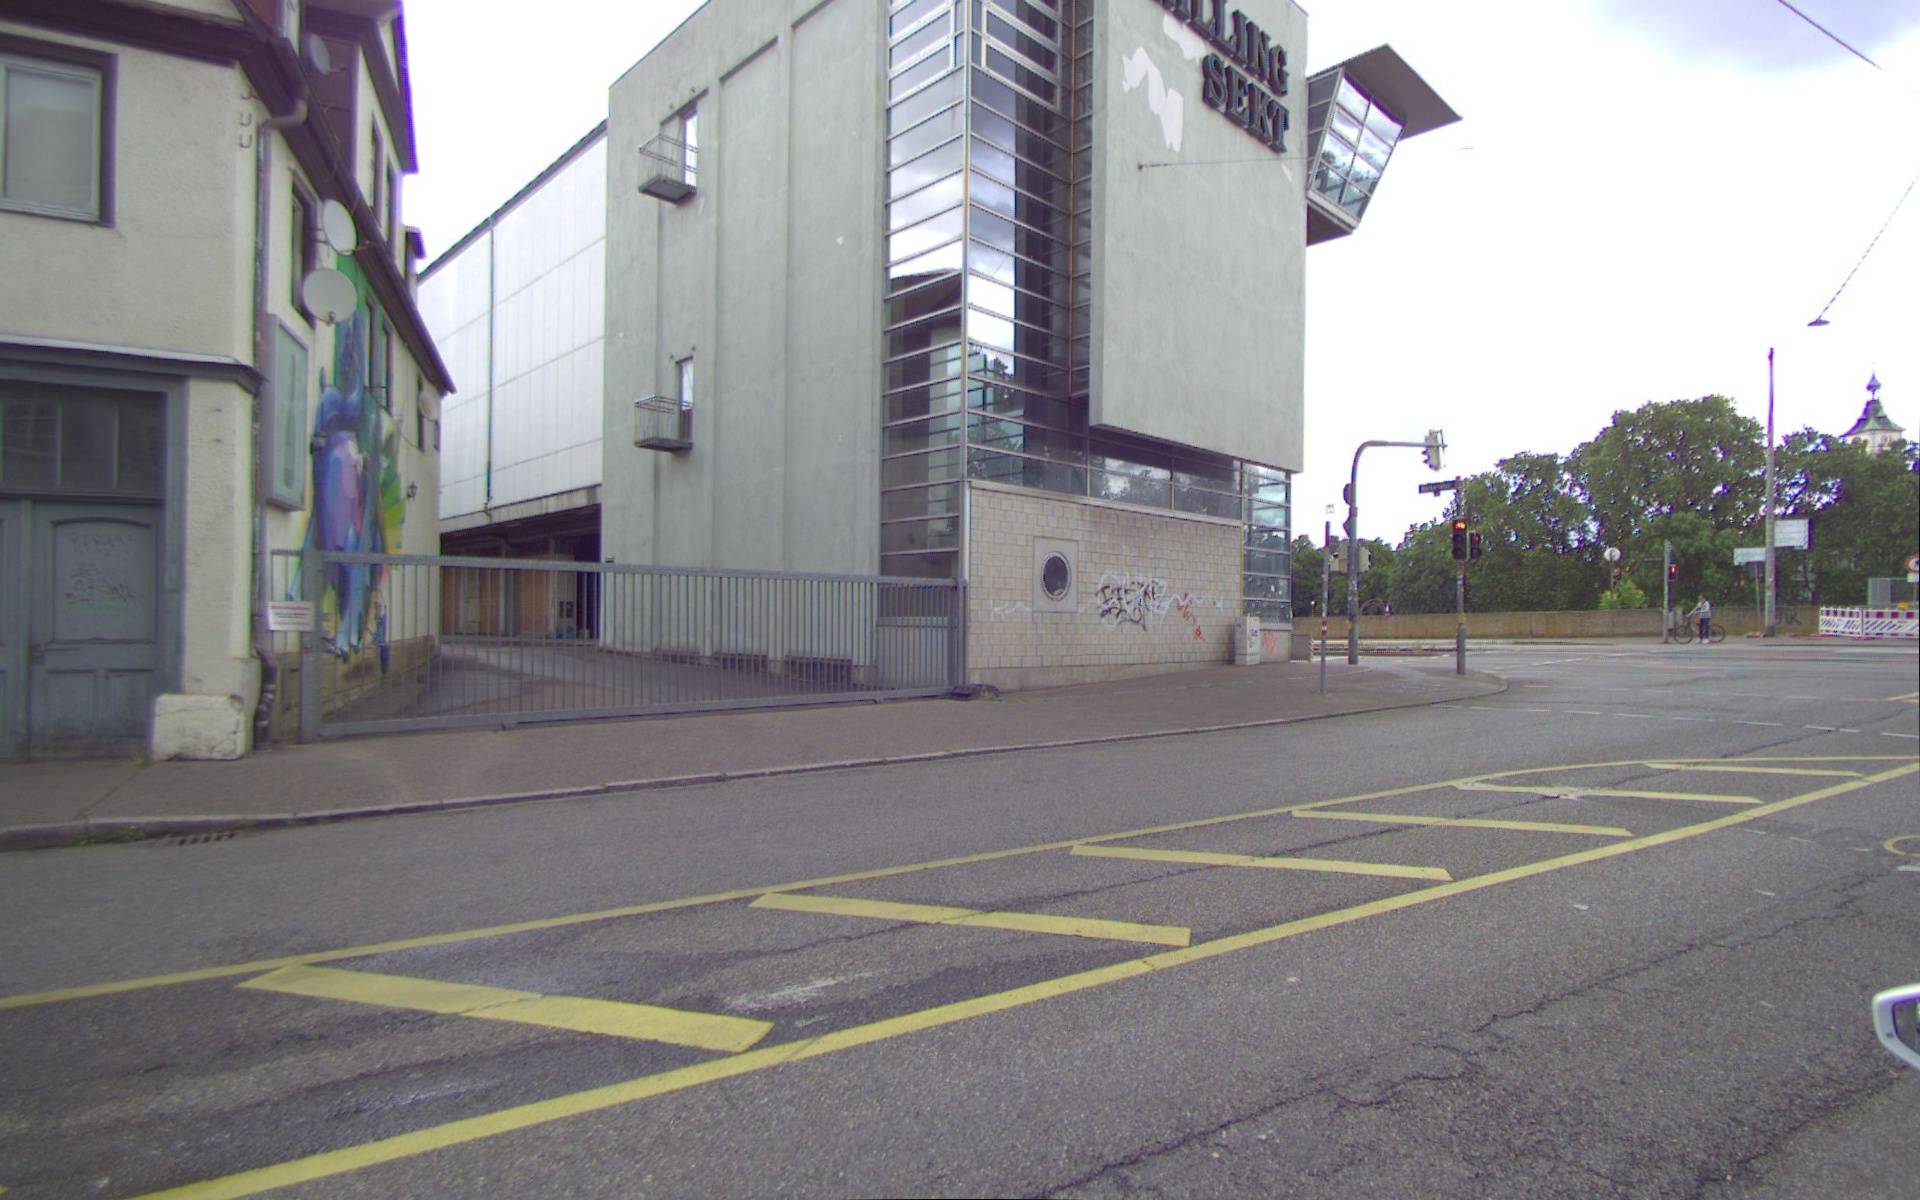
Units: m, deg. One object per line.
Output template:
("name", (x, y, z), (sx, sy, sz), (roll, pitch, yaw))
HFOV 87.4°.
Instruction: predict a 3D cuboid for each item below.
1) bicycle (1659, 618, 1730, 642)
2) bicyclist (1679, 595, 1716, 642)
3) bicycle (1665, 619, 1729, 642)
("bicycle", (28.498, 1.153, 38.991), (2.096, 0.904, 0.760), (-1, 0, 21))
("bicyclist", (28.602, 0.704, 38.950), (0.985, 1.767, 0.755), (0, 0, 22))
("bicycle", (28.529, 1.183, 38.887), (1.912, 0.878, 0.560), (0, -1, 17))
